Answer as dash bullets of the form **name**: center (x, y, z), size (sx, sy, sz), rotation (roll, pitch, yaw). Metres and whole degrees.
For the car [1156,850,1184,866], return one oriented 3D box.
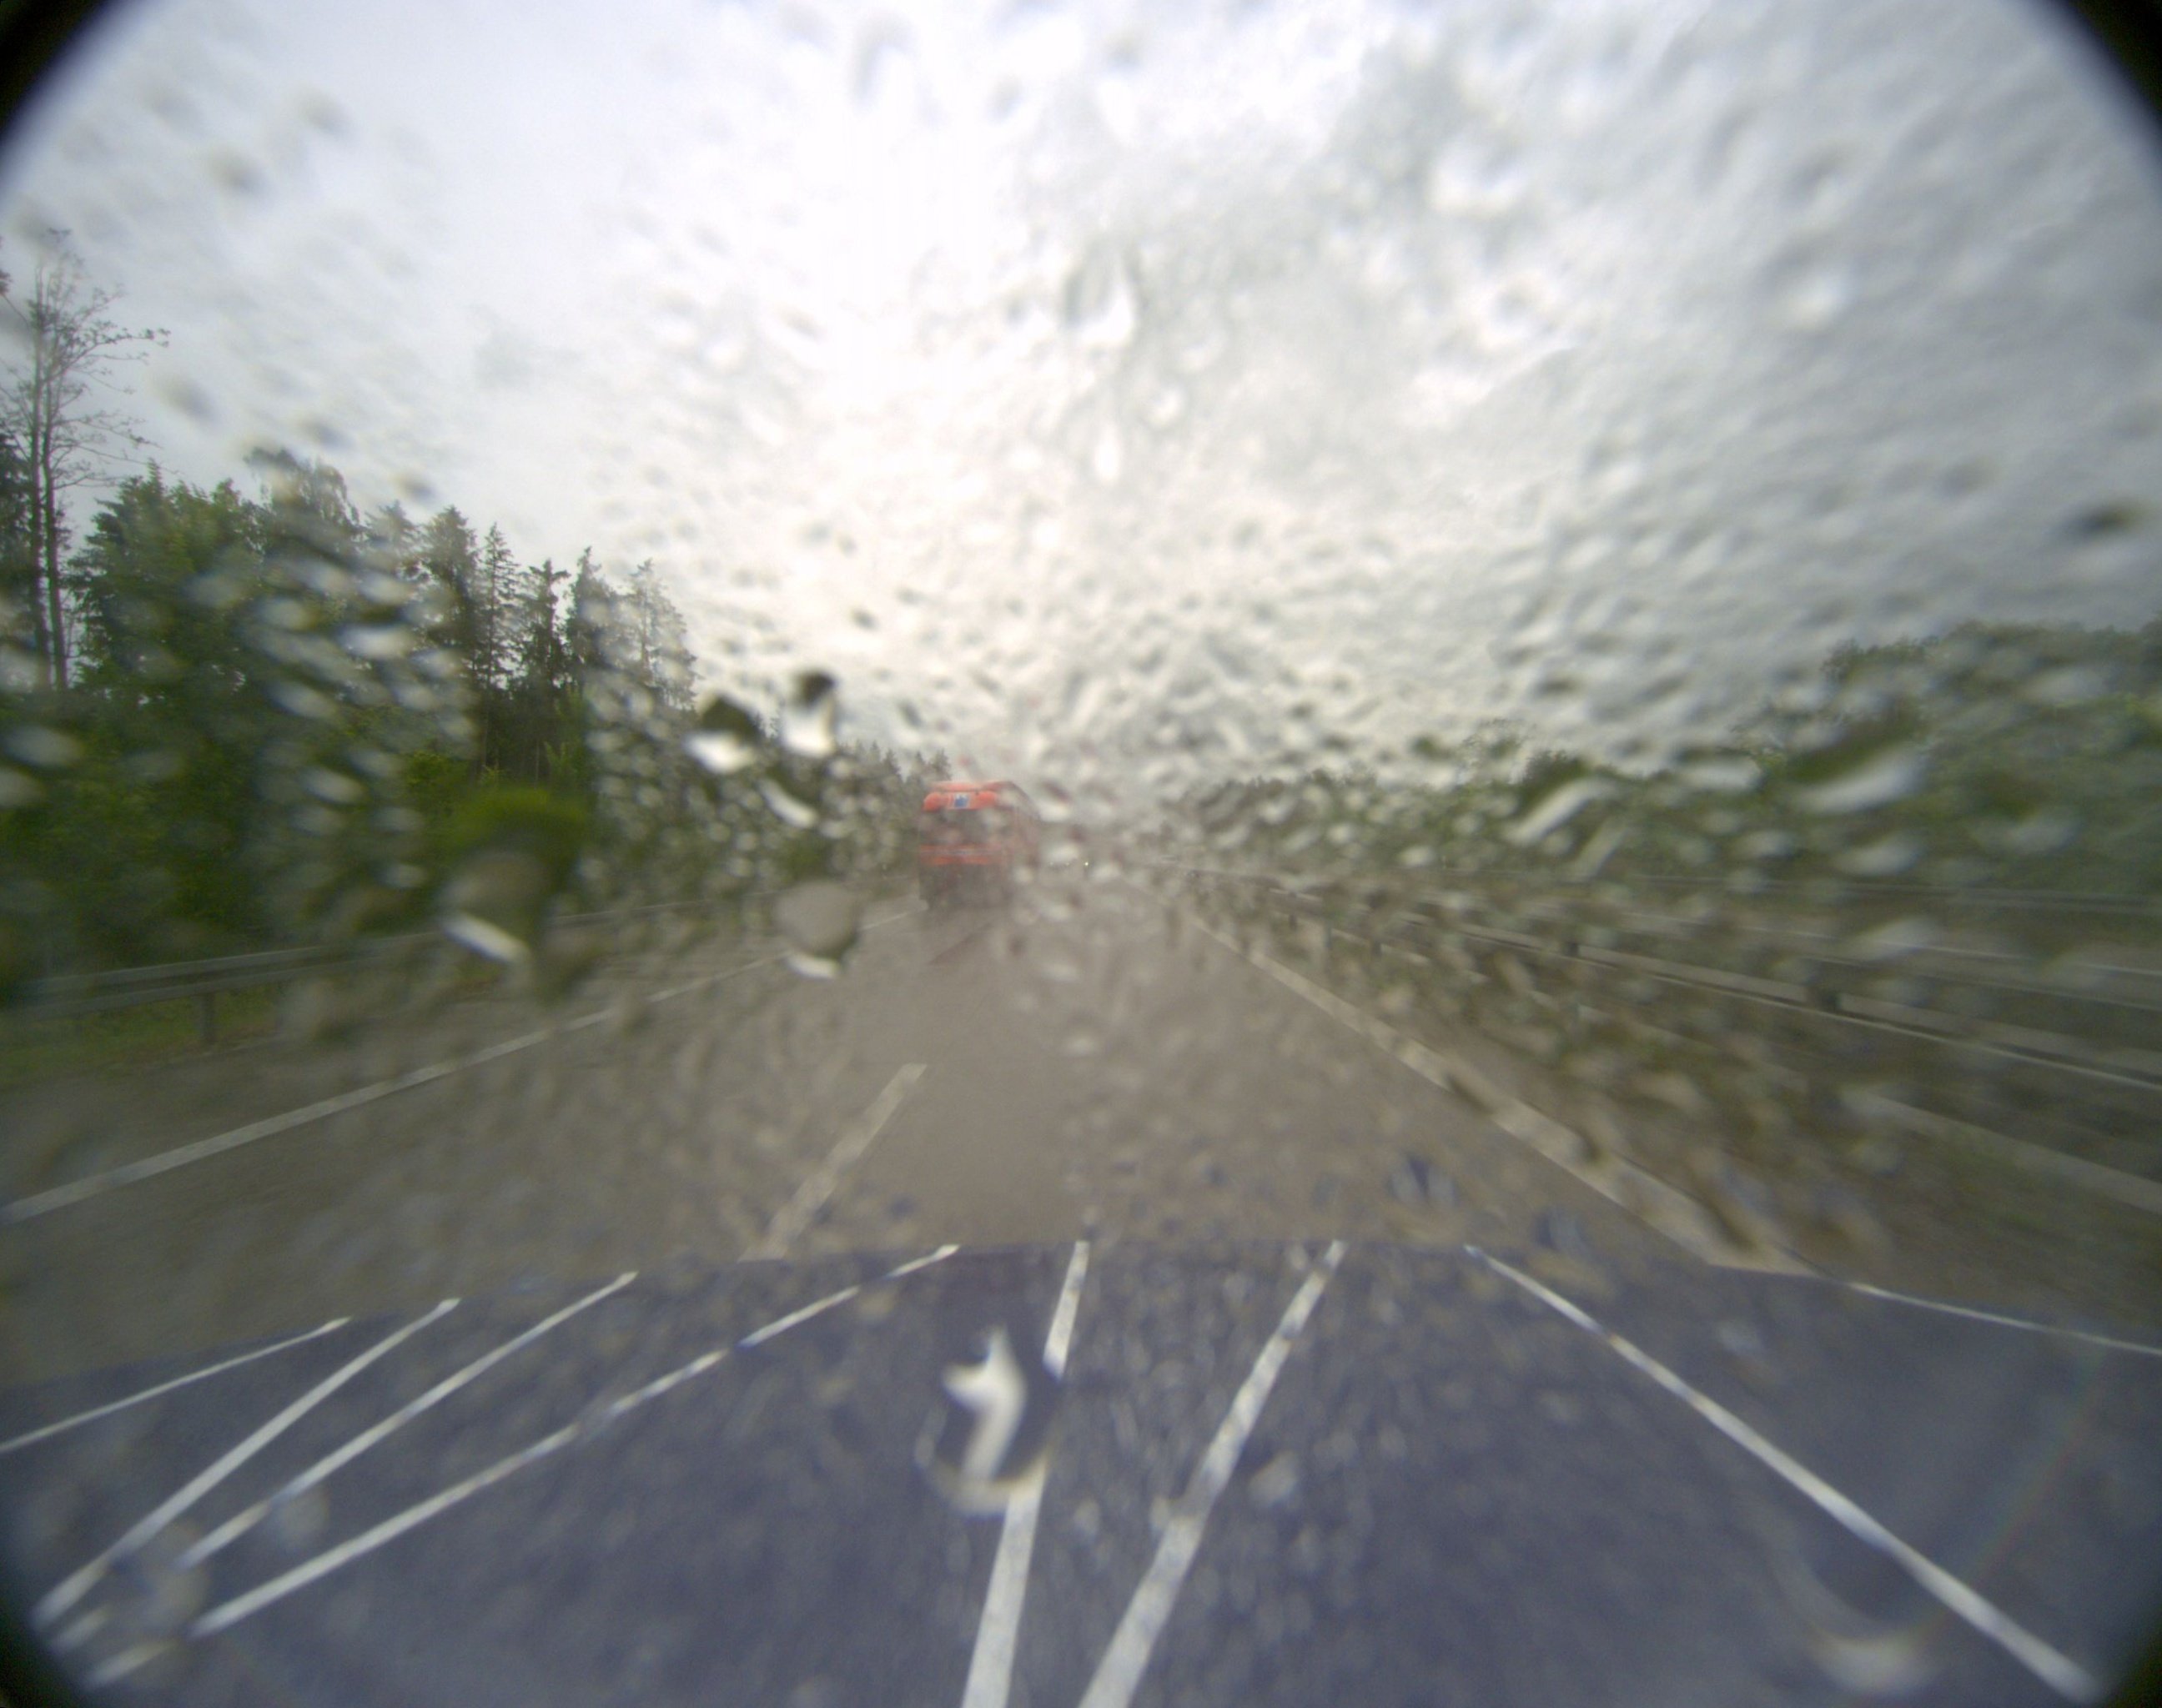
- **car**: center (8.005, 0.354, 68.771), size (1.772, 1.410, 4.605), rotation (0, 0, -3)

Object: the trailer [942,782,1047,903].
- **trailer**: center (-3.286, -0.420, 32.762), size (2.801, 4.132, 13.005), rotation (1, 0, 1)

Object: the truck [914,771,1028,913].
- **truck**: center (-3.369, -0.342, 24.665), size (2.766, 4.064, 5.437), rotation (1, 0, 1)

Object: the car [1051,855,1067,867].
- **car**: center (-2.331, 0.753, 81.780), size (1.496, 1.188, 3.668), rotation (1, 0, 1)

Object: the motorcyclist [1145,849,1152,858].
- **motorcyclist**: center (12.440, -0.058, 140.739), size (1.070, 1.746, 1.444), rotation (-1, 0, -1)

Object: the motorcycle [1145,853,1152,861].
- **motorcycle**: center (12.450, 0.577, 140.778), size (1.076, 1.381, 2.413), rotation (-1, 0, -1)

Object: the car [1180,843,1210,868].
- **car**: center (12.771, 0.145, 85.245), size (2.357, 2.733, 6.875), rotation (-1, 0, 1)

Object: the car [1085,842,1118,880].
- **car**: center (1.154, 0.398, 44.497), size (1.795, 2.113, 4.524), rotation (1, 0, 1)
